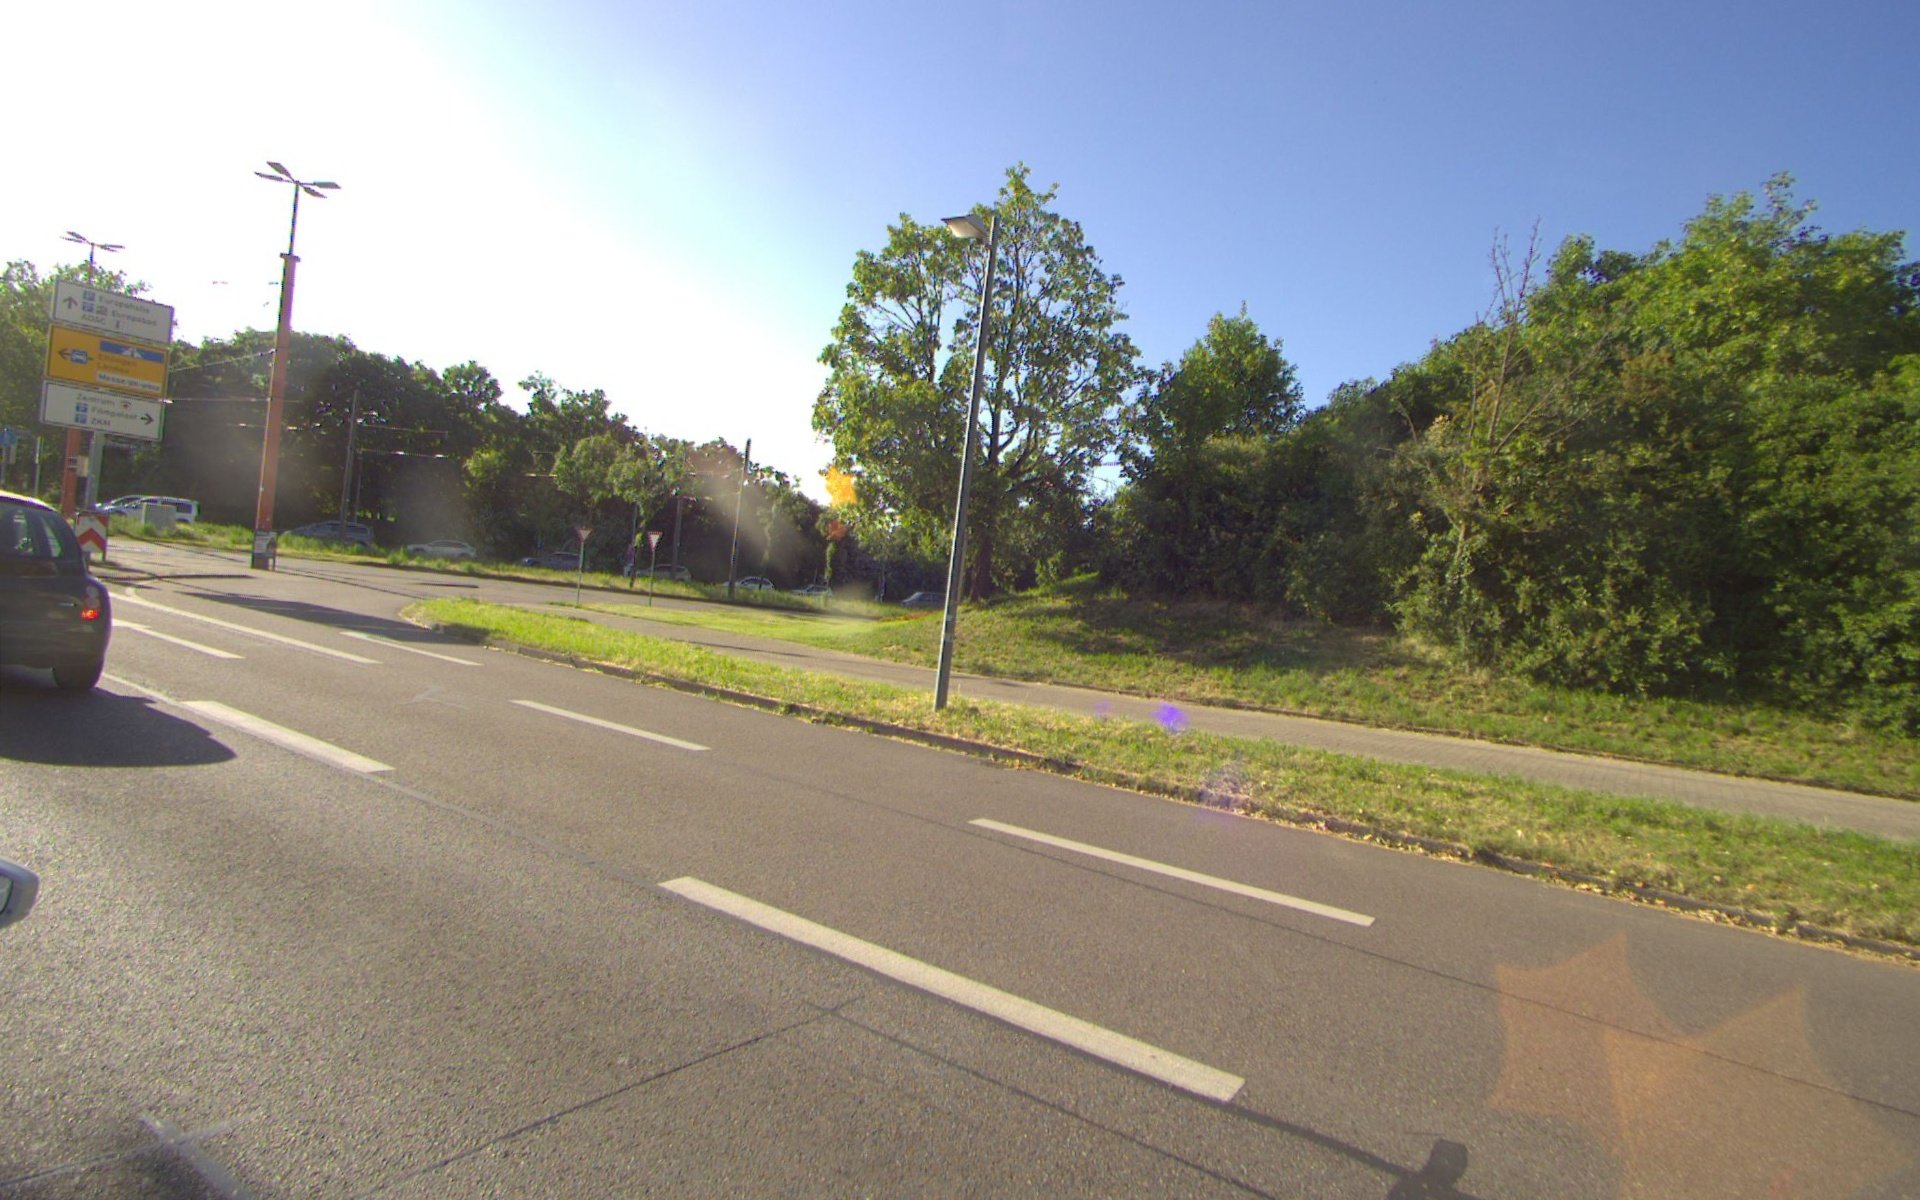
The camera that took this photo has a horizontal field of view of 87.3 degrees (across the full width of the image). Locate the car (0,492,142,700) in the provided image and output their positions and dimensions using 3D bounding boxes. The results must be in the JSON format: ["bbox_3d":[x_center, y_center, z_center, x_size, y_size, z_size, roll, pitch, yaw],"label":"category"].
[{"bbox_3d":[-8.471,-0.202,8.209,3.445,1.512,1.641,7,-1,32],"label":"car"}]

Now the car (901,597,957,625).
[{"bbox_3d":[-2.436,0.891,79.111,3.957,1.665,1.720,8,-1,-30],"label":"car"}]

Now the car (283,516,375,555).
[{"bbox_3d":[-36.626,-3.718,58.494,4.323,1.577,1.856,8,-1,-33],"label":"car"}]

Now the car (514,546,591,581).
[{"bbox_3d":[-26.348,-2.377,65.078,4.230,1.646,1.914,8,-1,-31],"label":"car"}]

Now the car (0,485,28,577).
[{"bbox_3d":[-19.798,-1.552,19.105,4.427,1.653,1.895,7,0,32],"label":"car"}]

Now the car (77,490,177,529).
[{"bbox_3d":[-46.501,-5.017,56.257,3.960,1.493,1.774,8,-1,-32],"label":"car"}]

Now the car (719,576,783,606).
[{"bbox_3d":[-14.953,-0.659,72.050,3.958,1.600,1.858,8,-1,-30],"label":"car"}]

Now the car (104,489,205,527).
[{"bbox_3d":[-43.528,-4.931,54.477,3.960,1.353,1.715,8,-1,-32],"label":"car"}]

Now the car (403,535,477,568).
[{"bbox_3d":[-33.168,-3.058,64.216,3.959,1.513,1.846,8,-1,-31],"label":"car"}]

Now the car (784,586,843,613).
[{"bbox_3d":[-11.307,-0.045,77.515,3.955,1.503,1.877,8,-1,-29],"label":"car"}]

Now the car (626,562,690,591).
[{"bbox_3d":[-21.666,-1.678,72.171,3.958,1.546,1.845,8,-1,-31],"label":"car"}]
